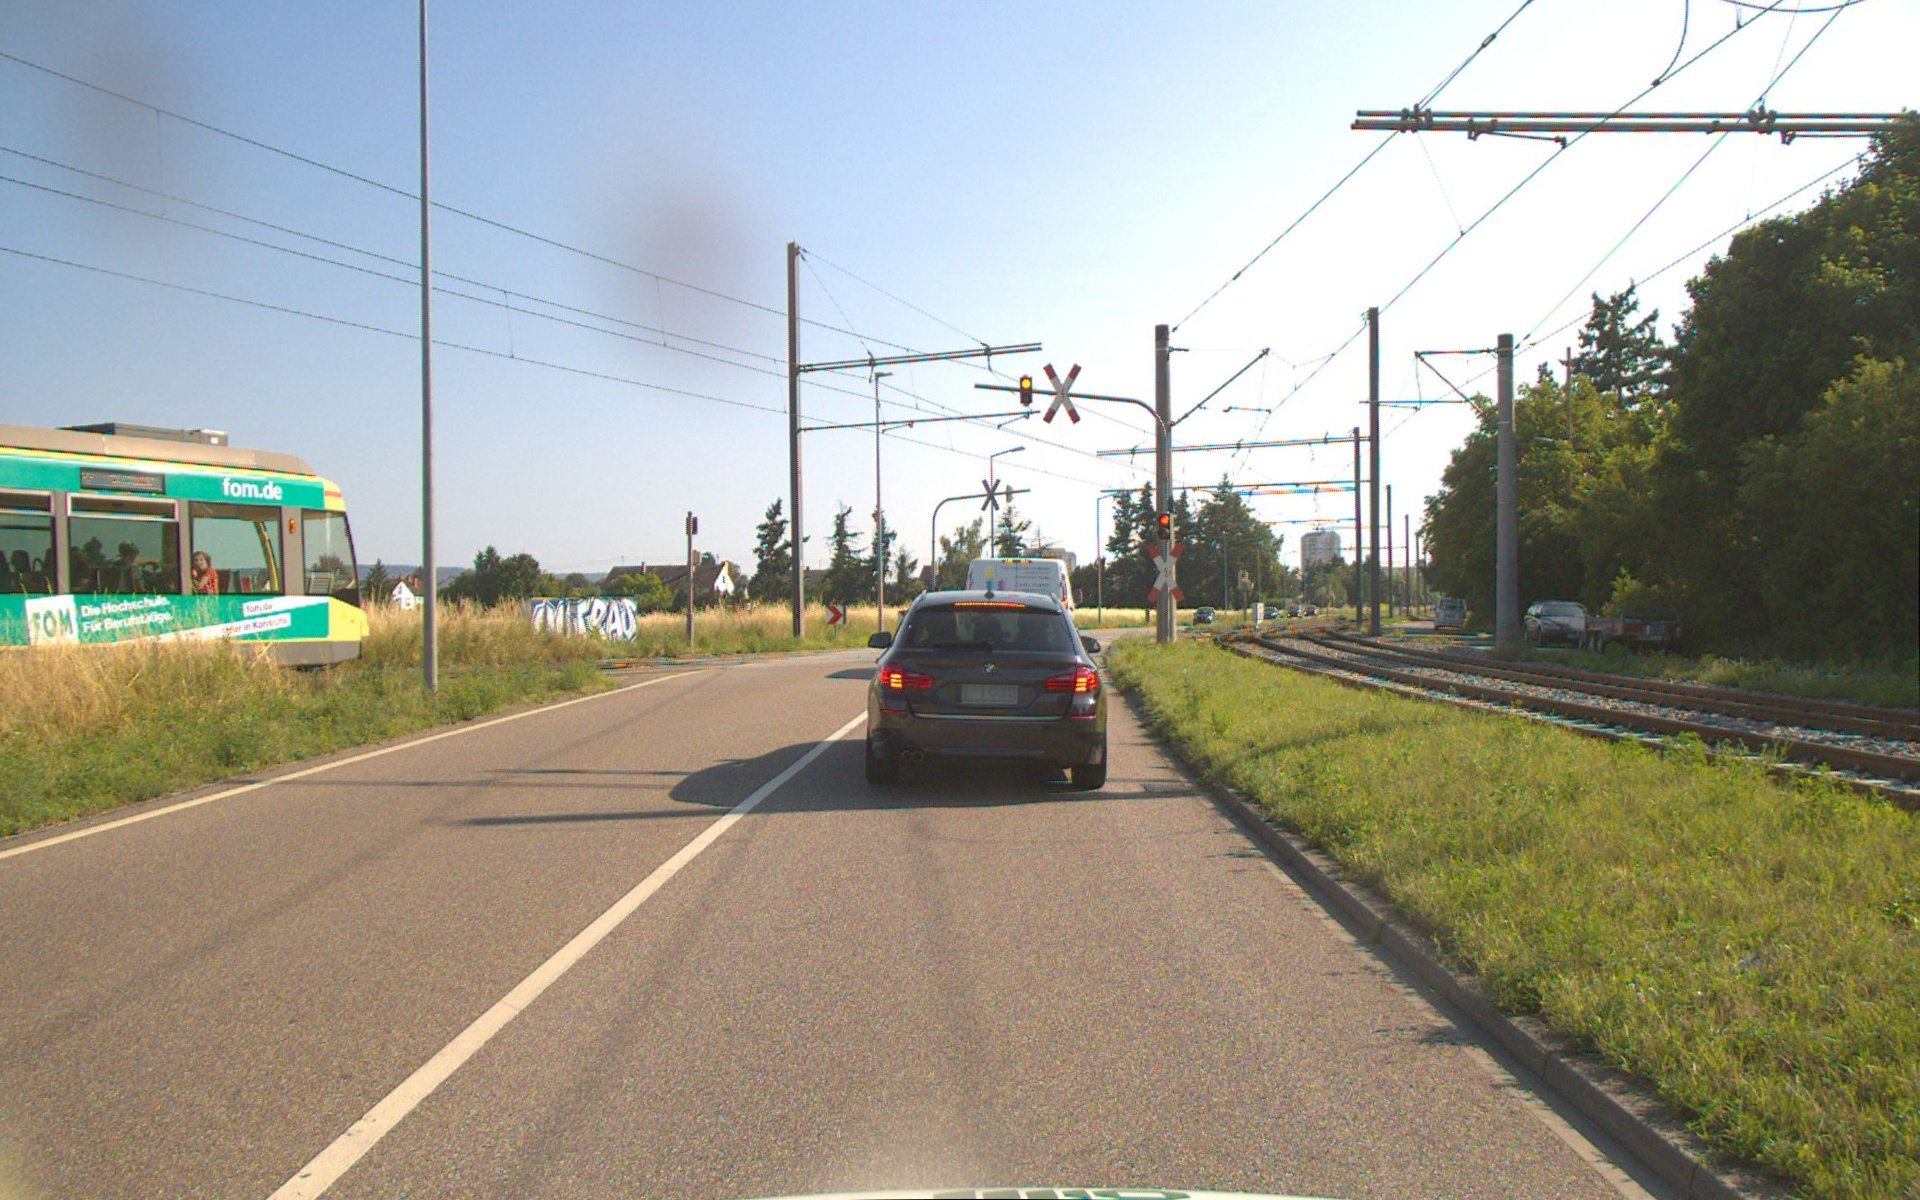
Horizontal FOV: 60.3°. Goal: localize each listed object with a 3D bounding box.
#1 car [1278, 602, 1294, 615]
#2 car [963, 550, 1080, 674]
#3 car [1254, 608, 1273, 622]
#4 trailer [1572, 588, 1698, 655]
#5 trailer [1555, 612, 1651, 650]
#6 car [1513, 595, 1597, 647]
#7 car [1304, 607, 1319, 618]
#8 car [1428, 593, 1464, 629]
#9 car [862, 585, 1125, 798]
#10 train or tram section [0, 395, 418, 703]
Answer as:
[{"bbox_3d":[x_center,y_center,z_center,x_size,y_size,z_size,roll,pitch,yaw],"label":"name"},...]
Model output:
[{"bbox_3d":[41.755,1.059,211.913,1.670,1.694,4.592,0,0,16],"label":"car"},{"bbox_3d":[1.195,0.194,29.744,1.818,2.023,5.111,0,0,5],"label":"car"},{"bbox_3d":[33.561,1.618,182.866,1.657,1.465,4.286,1,0,16],"label":"car"},{"bbox_3d":[17.692,0.548,43.556,1.983,1.624,4.263,2,0,7],"label":"trailer"},{"bbox_3d":[18.424,0.875,47.539,1.694,0.956,3.731,3,0,8],"label":"trailer"},{"bbox_3d":[18.757,0.627,52.307,1.662,1.482,4.885,2,0,10],"label":"car"},{"bbox_3d":[49.115,1.707,230.949,1.676,1.576,3.930,0,0,18],"label":"car"},{"bbox_3d":[29.390,0.692,100.080,1.951,2.039,5.070,2,0,16],"label":"car"},{"bbox_3d":[0.249,0.622,13.913,1.830,1.478,4.744,0,0,0],"label":"car"},{"bbox_3d":[-12.783,-0.626,19.721,2.849,3.631,14.246,0,-2,26],"label":"train or tram section"}]
